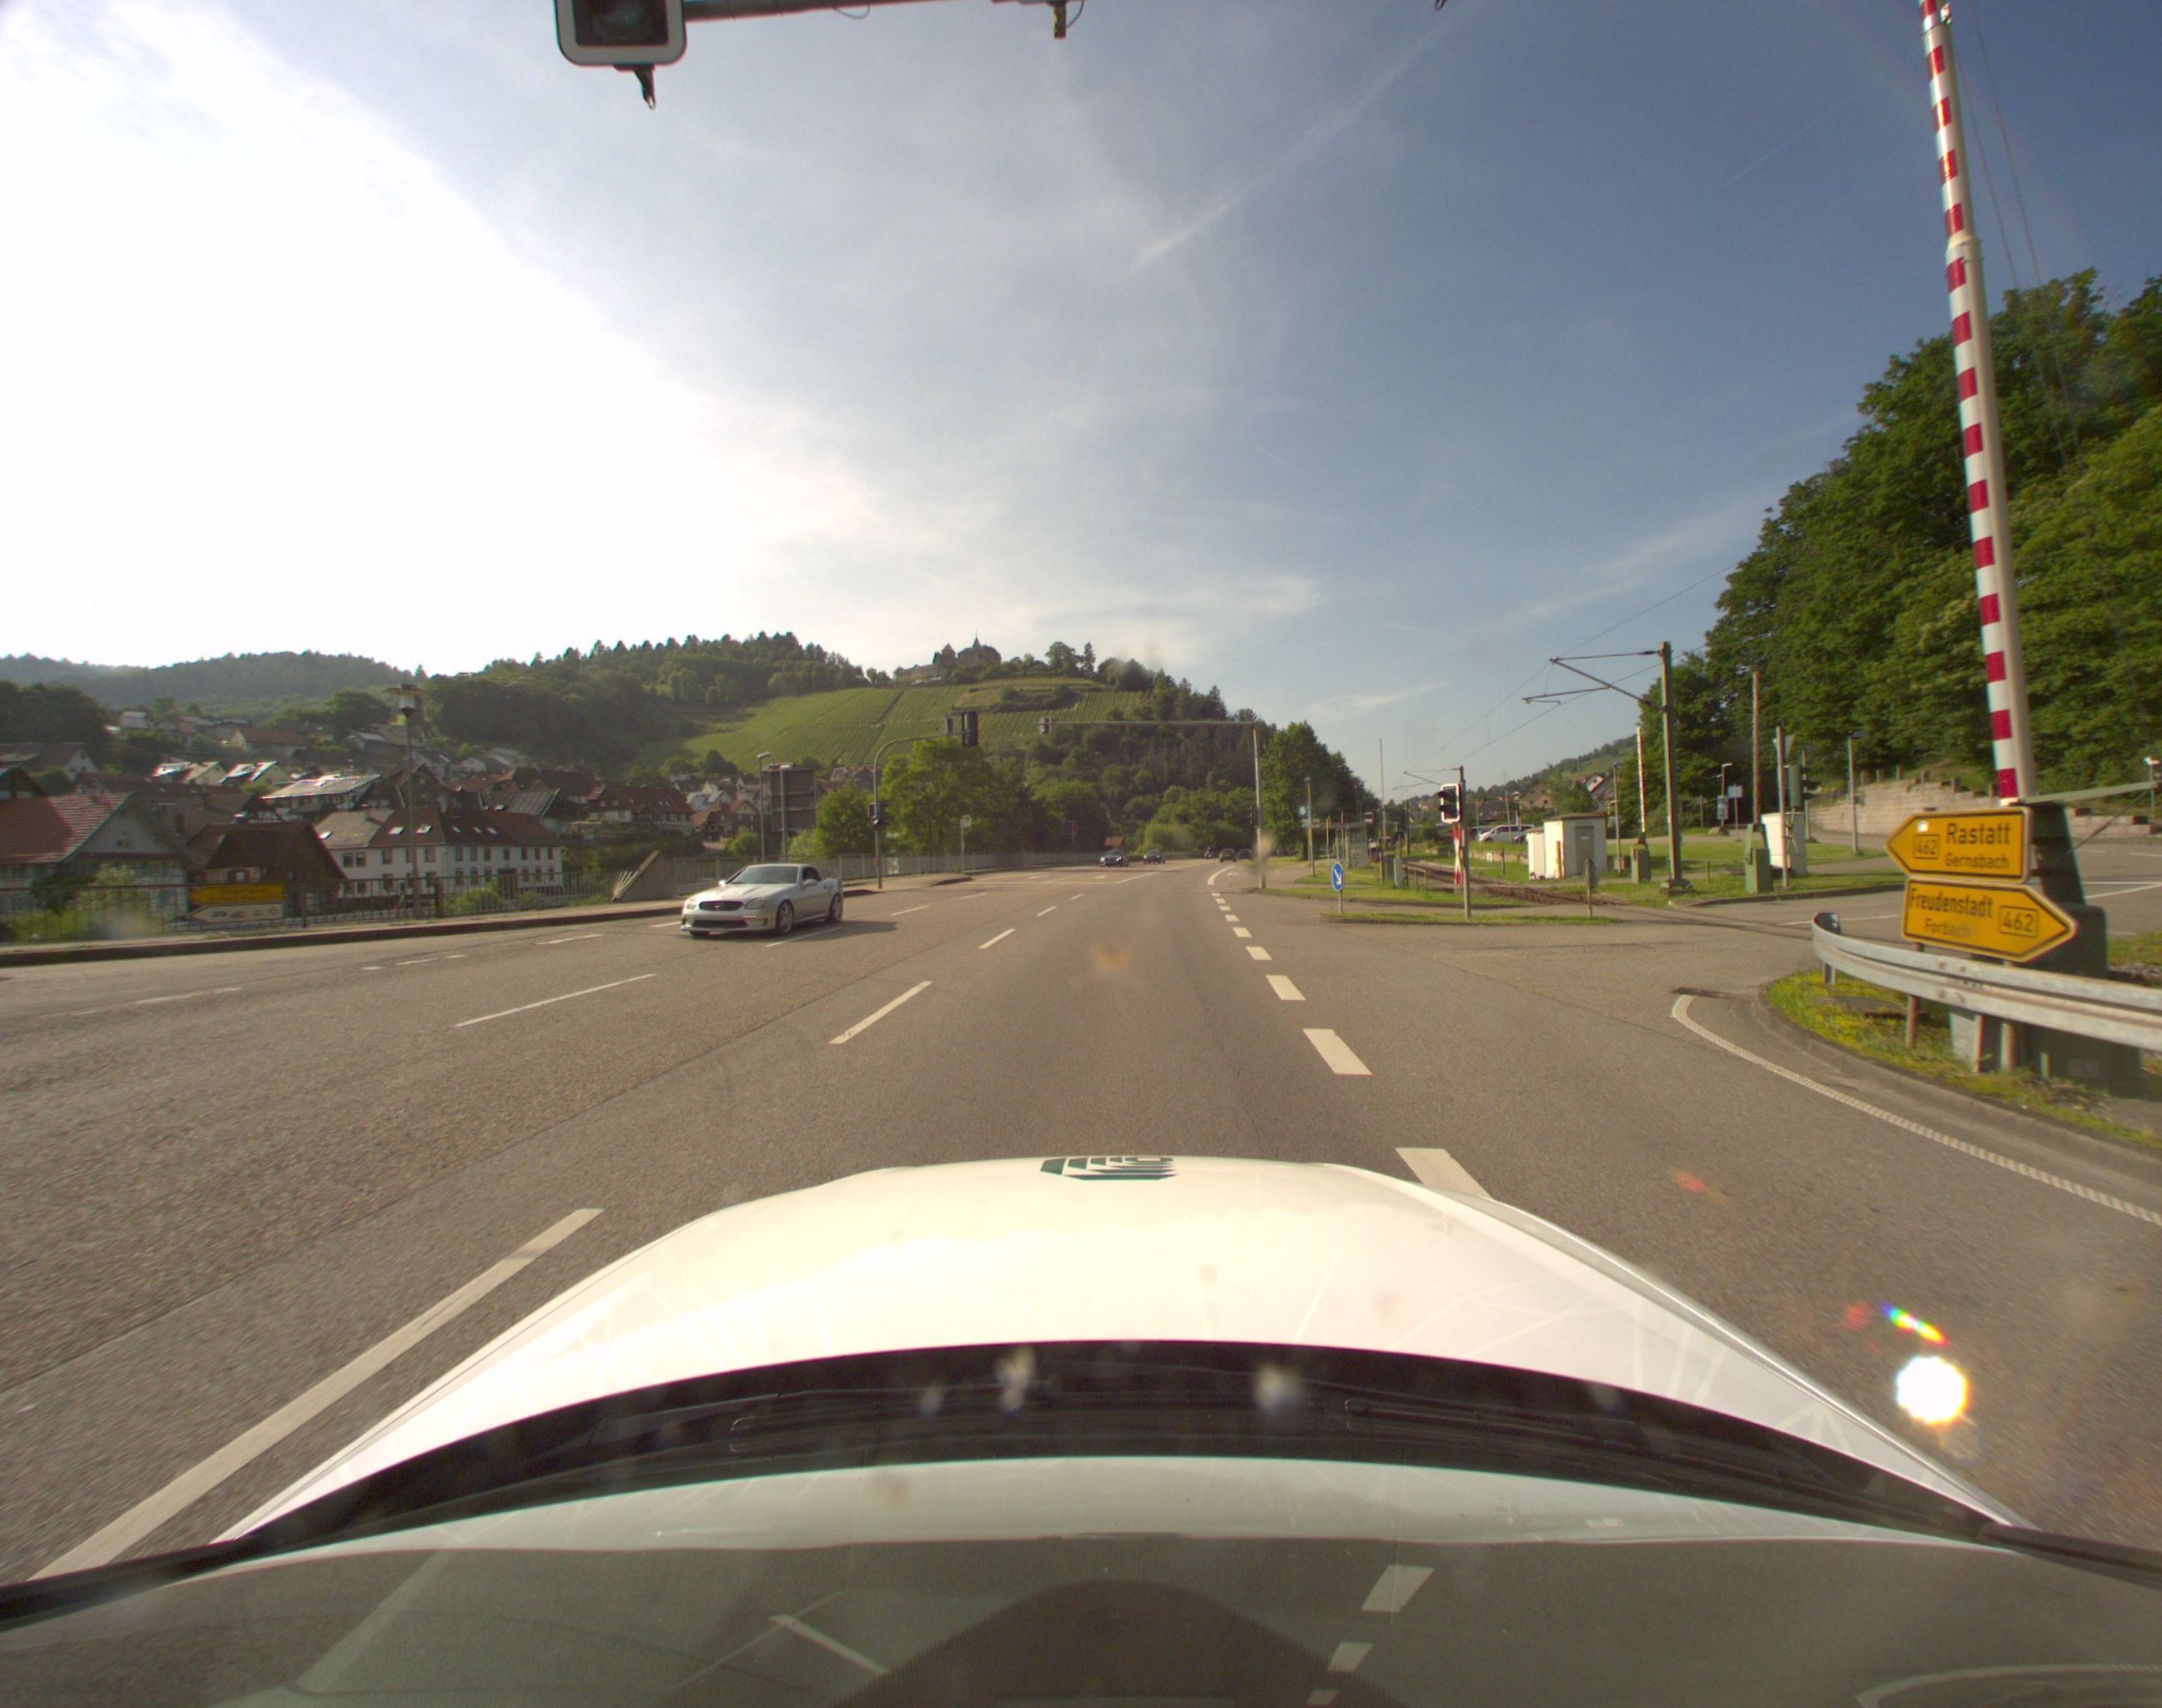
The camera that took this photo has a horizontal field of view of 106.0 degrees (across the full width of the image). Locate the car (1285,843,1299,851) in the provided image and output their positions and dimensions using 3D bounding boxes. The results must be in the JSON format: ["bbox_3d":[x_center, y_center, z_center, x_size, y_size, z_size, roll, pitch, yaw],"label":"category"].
[{"bbox_3d":[43.093,-1.472,166.046,1.659,1.459,4.229,0,1,31],"label":"car"}]

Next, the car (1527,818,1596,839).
[{"bbox_3d":[35.352,-1.881,59.979,4.064,1.398,1.818,-1,1,17],"label":"car"}]

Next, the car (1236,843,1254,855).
[{"bbox_3d":[22.480,-0.660,111.481,1.825,1.459,3.731,-3,0,18],"label":"car"}]

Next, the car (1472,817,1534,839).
[{"bbox_3d":[39.646,-2.423,76.631,4.912,1.943,2.151,-1,1,17],"label":"car"}]

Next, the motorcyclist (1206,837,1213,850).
[{"bbox_3d":[19.064,-1.557,120.554,0.838,1.784,1.177,0,1,18],"label":"motorcyclist"}]

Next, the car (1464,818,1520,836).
[{"bbox_3d":[42.218,-2.745,83.798,4.912,1.690,1.945,-1,1,17],"label":"car"}]

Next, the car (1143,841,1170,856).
[{"bbox_3d":[7.969,-0.596,85.630,1.770,1.478,4.777,-1,1,19],"label":"car"}]

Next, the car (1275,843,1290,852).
[{"bbox_3d":[35.619,-1.178,144.200,1.790,1.453,3.669,-3,0,26],"label":"car"}]

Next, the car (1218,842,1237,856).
[{"bbox_3d":[16.709,-0.537,92.737,1.715,1.457,3.426,-3,0,17],"label":"car"}]

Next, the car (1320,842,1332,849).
[{"bbox_3d":[58.909,-2.064,195.725,1.833,1.469,4.571,0,2,32],"label":"car"}]

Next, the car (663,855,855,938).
[{"bbox_3d":[-5.890,0.703,15.488,1.637,1.231,4.101,-1,1,6],"label":"car"}]

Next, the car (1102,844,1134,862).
[{"bbox_3d":[3.114,-0.124,67.897,1.758,1.377,4.663,1,1,15],"label":"car"}]

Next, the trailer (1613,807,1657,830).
[{"bbox_3d":[58.320,-3.680,85.732,3.656,2.189,1.830,-2,0,36],"label":"trailer"}]

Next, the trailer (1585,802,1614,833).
[{"bbox_3d":[70.022,-4.852,109.820,2.581,3.893,7.783,-3,0,37],"label":"trailer"}]

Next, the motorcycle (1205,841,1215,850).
[{"bbox_3d":[19.114,-1.263,120.658,0.965,1.221,2.584,0,1,17],"label":"motorcycle"}]
